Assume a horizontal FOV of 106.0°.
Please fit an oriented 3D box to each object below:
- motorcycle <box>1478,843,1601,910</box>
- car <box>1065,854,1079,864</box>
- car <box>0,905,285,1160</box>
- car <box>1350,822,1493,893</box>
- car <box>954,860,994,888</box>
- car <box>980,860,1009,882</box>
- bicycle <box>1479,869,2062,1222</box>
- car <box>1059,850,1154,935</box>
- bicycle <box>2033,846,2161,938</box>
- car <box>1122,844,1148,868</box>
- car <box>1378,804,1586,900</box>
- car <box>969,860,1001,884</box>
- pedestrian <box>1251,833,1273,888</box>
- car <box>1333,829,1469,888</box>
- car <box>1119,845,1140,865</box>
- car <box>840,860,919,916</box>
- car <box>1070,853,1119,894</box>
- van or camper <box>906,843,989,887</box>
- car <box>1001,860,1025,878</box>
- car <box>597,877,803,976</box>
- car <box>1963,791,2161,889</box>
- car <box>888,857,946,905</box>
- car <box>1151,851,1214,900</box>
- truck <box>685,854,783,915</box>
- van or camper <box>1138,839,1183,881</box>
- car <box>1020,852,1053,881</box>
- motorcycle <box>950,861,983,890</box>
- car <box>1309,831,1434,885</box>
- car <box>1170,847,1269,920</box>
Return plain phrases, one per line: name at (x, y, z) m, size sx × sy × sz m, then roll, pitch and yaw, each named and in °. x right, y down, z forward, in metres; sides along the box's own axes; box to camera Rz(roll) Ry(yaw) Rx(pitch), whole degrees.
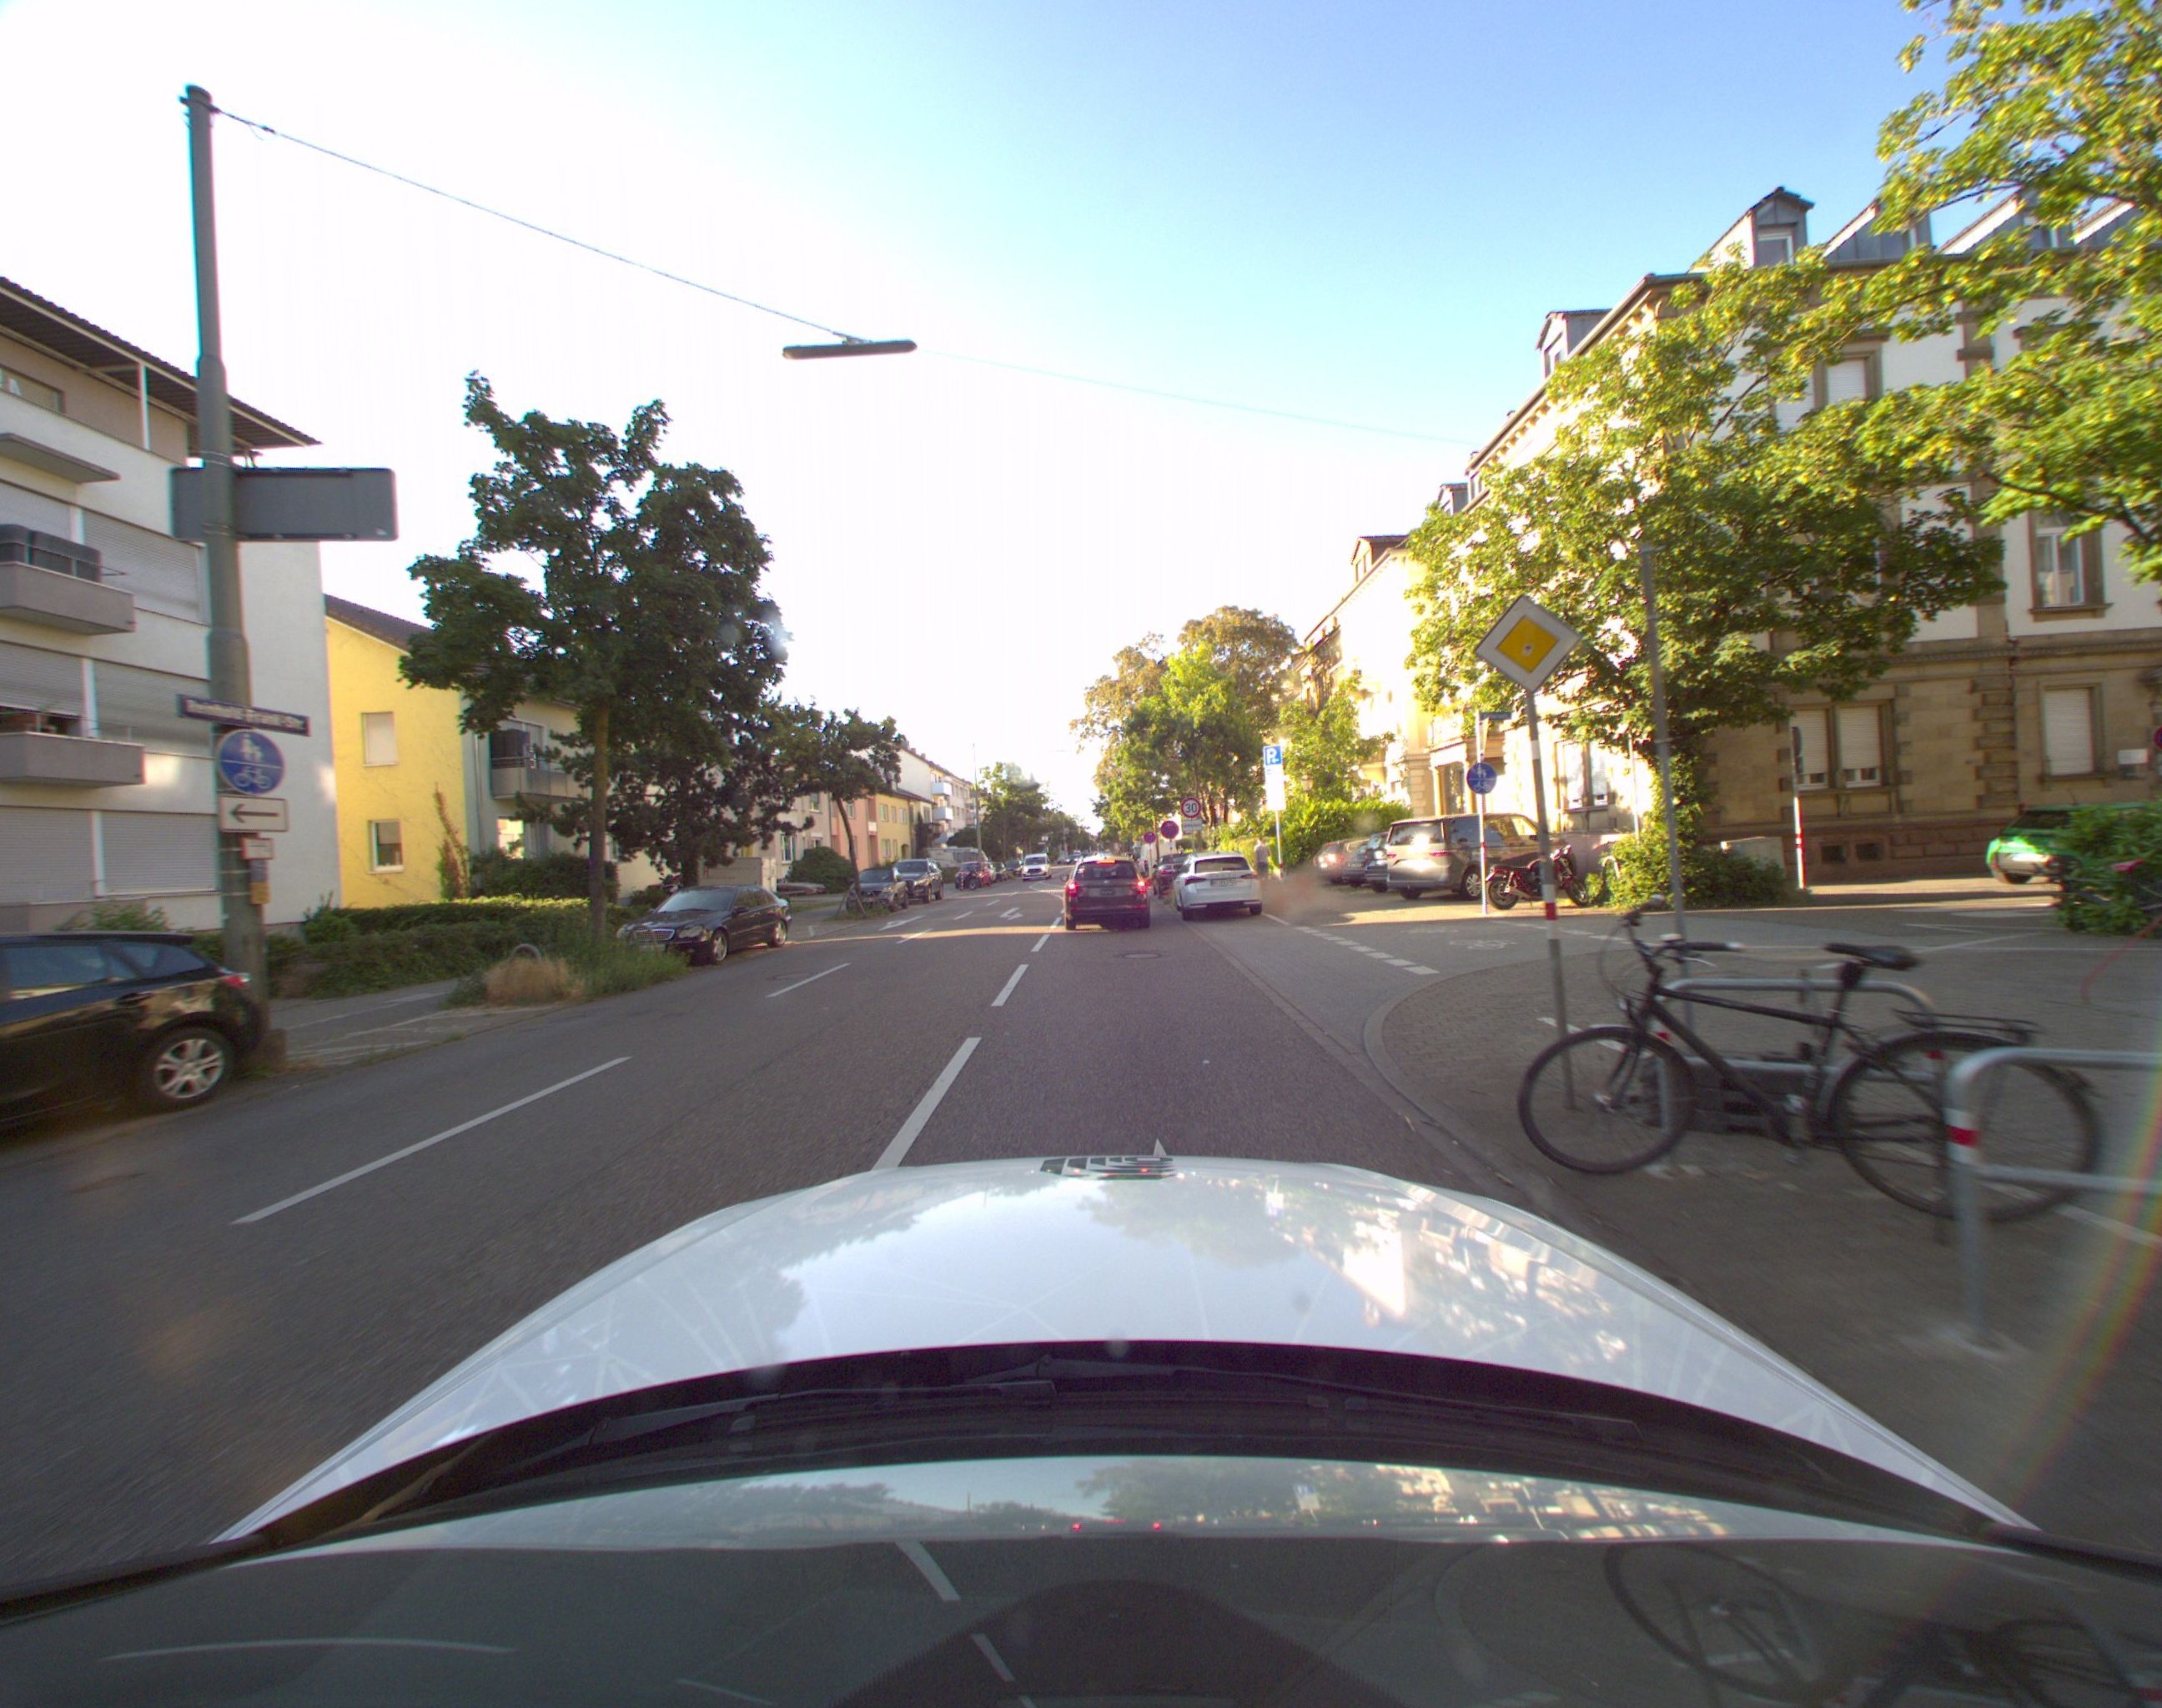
motorcycle at (8.667, 0.419, 15.420) m, size 2.047 × 1.125 × 0.525 m, roll -3°, pitch 0°, yaw -4°
car at (-1.463, 0.886, 134.149) m, size 1.986 × 1.508 × 4.001 m, roll -3°, pitch 0°, yaw 1°
car at (-7.793, 1.256, 4.877) m, size 1.710 × 1.497 × 4.249 m, roll -3°, pitch 0°, yaw 2°
car at (9.385, 0.069, 22.372) m, size 3.822 × 1.678 × 1.498 m, roll -3°, pitch 0°, yaw -28°
car at (-6.400, 1.169, 49.204) m, size 1.658 × 1.511 × 4.180 m, roll -3°, pitch 0°, yaw 1°
car at (-6.282, 1.218, 59.441) m, size 1.658 × 1.432 × 3.276 m, roll -3°, pitch 0°, yaw 1°
bicycle at (2.683, 0.761, 3.384) m, size 1.658 × 1.226 × 0.638 m, roll -5°, pitch 0°, yaw 14°
car at (0.565, 0.723, 17.407) m, size 1.723 × 1.493 × 3.953 m, roll -3°, pitch 0°, yaw 2°
bicycle at (11.247, 0.389, 8.644) m, size 0.341 × 0.950 × 1.580 m, roll -1°, pitch 0°, yaw -4°
car at (4.366, 0.156, 66.342) m, size 1.724 × 1.815 × 3.950 m, roll -3°, pitch 0°, yaw 0°
car at (9.365, -0.075, 18.988) m, size 4.557 × 1.892 × 1.898 m, roll -3°, pitch 0°, yaw -26°
car at (-6.442, 1.207, 54.897) m, size 1.658 × 1.432 × 3.276 m, roll -3°, pitch 0°, yaw 1°
pedestrian at (6.057, 0.206, 27.329) m, size 0.533 × 1.794 × 0.688 m, roll -3°, pitch 0°, yaw 3°
car at (9.816, 0.126, 24.981) m, size 3.814 × 1.525 × 1.501 m, roll -3°, pitch 0°, yaw -21°
car at (4.680, 0.043, 78.835) m, size 1.724 × 1.815 × 3.950 m, roll -3°, pitch 0°, yaw 0°
car at (-7.163, 1.152, 29.246) m, size 1.744 × 1.740 × 3.592 m, roll -3°, pitch 0°, yaw 2°
car at (0.507, 0.757, 33.962) m, size 1.725 × 1.493 × 3.947 m, roll -3°, pitch 0°, yaw -2°
van or camper at (-13.127, 1.063, 80.564) m, size 7.617 × 3.874 × 1.999 m, roll -3°, pitch 0°, yaw -1°
car at (-5.899, 1.283, 70.606) m, size 1.658 × 1.432 × 3.276 m, roll -3°, pitch 0°, yaw 1°
car at (-7.241, 1.293, 16.056) m, size 1.747 × 1.420 × 4.428 m, roll -3°, pitch 0°, yaw 2°
car at (19.036, -0.320, 14.766) m, size 3.902 × 1.585 × 1.930 m, roll -3°, pitch 0°, yaw 2°
car at (-6.758, 1.083, 33.907) m, size 1.501 × 1.757 × 3.695 m, roll -3°, pitch 0°, yaw 1°
car at (3.350, 0.653, 27.573) m, size 1.813 × 1.413 × 4.115 m, roll -3°, pitch 0°, yaw 3°
truck at (-13.086, 1.130, 30.794) m, size 2.903 × 2.093 × 1.546 m, roll -3°, pitch 0°, yaw 1°
van or camper at (4.144, 0.294, 43.038) m, size 1.986 × 2.013 × 4.002 m, roll -3°, pitch 0°, yaw 1°
car at (-3.038, 0.829, 56.435) m, size 1.870 × 1.757 × 4.180 m, roll -3°, pitch 0°, yaw 1°
motorcycle at (-6.239, 1.197, 44.281) m, size 0.771 × 1.511 × 2.006 m, roll -3°, pitch 0°, yaw -41°
car at (9.672, 0.118, 27.107) m, size 3.814 × 1.525 × 1.501 m, roll -3°, pitch 0°, yaw -21°
car at (3.122, 0.607, 19.144) m, size 1.813 × 1.413 × 4.115 m, roll -3°, pitch 0°, yaw 3°
